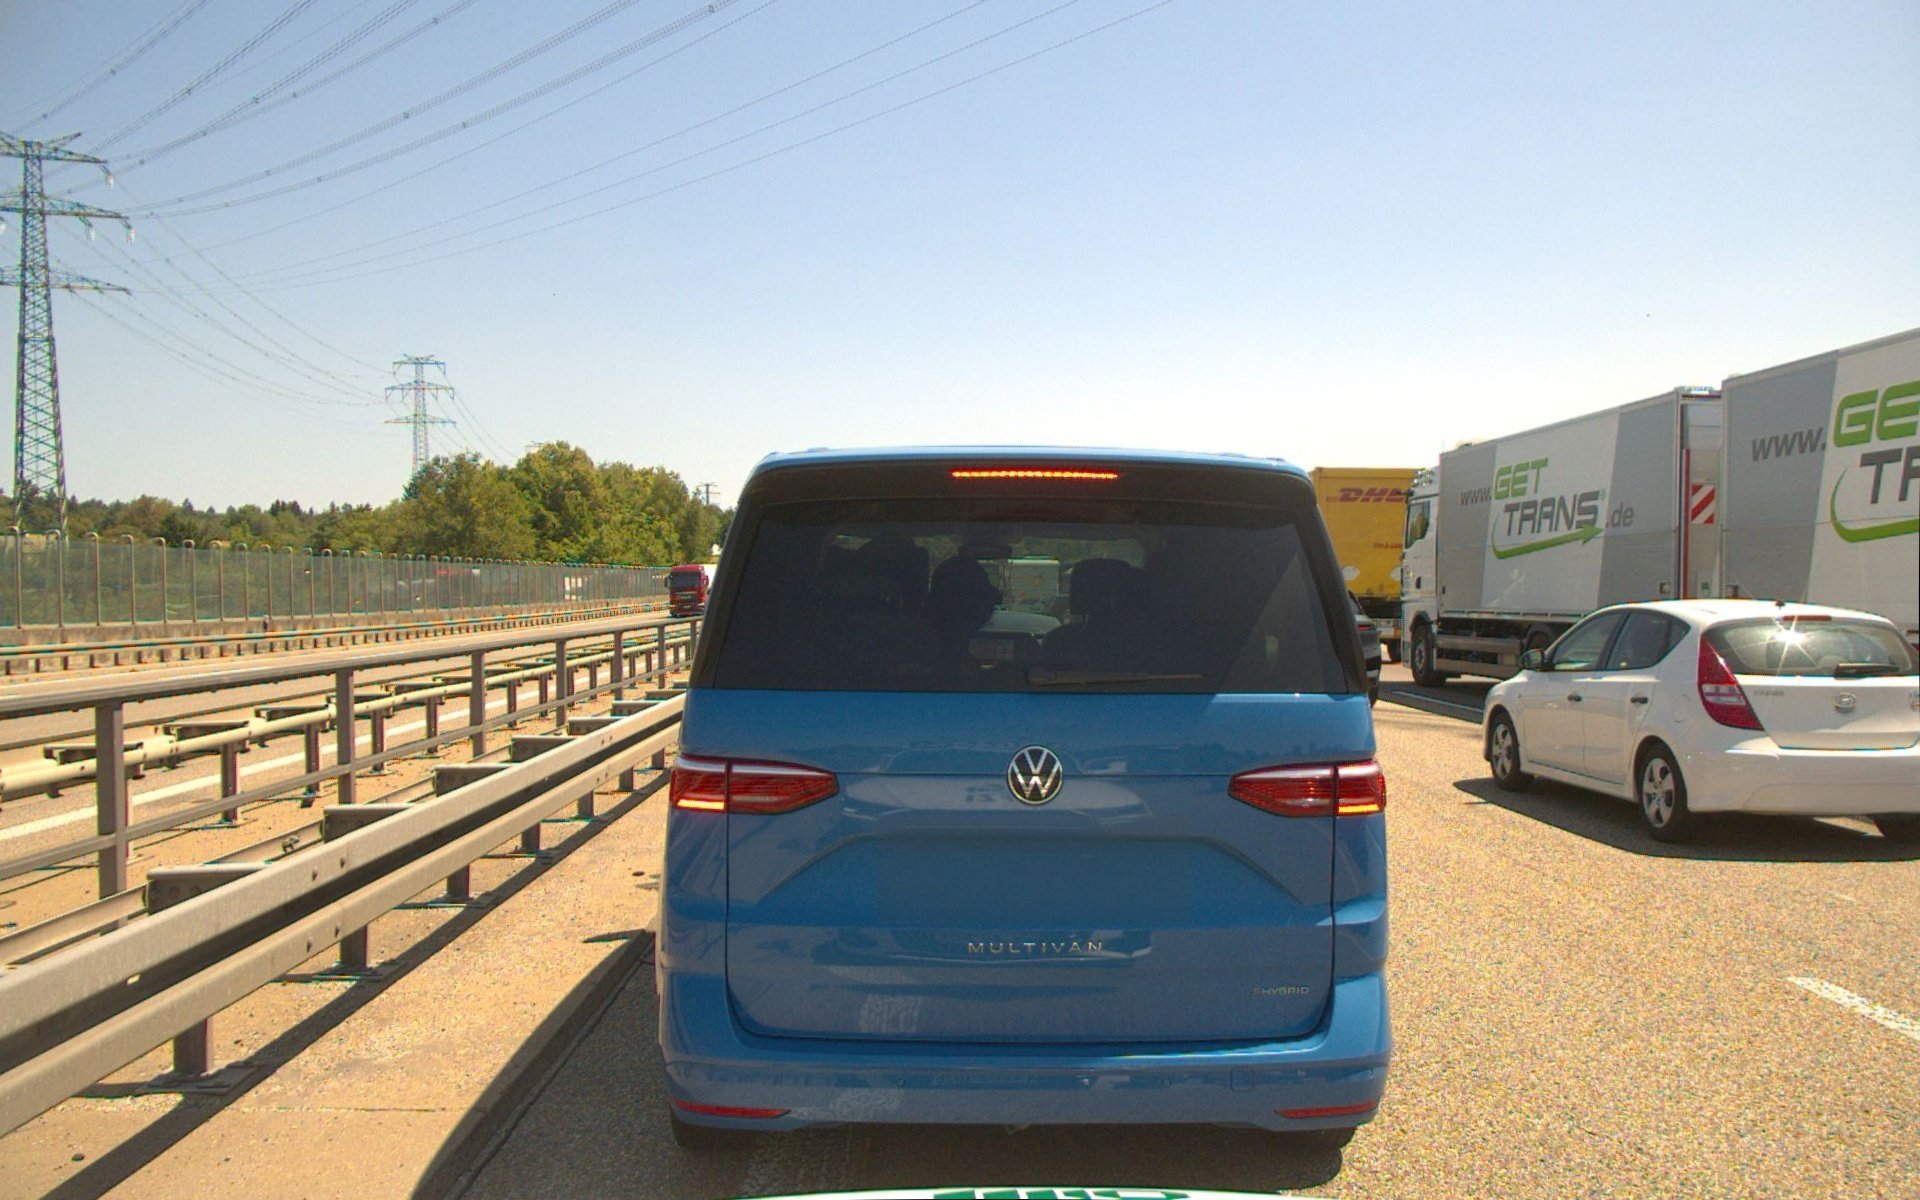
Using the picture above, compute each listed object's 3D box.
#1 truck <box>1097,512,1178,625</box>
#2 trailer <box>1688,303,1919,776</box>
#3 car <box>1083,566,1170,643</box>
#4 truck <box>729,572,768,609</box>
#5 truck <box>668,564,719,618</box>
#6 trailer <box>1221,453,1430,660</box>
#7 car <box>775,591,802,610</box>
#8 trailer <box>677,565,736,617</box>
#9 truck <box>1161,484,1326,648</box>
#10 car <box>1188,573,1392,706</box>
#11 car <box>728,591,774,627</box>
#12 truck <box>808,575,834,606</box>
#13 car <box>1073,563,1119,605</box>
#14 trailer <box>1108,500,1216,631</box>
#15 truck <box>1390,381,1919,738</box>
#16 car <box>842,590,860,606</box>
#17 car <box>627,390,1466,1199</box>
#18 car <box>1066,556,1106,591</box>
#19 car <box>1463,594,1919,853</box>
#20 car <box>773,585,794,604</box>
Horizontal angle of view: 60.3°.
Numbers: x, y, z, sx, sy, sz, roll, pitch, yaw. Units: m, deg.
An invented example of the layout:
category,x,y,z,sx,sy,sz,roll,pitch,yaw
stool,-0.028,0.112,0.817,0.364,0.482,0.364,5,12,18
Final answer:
category,x,y,z,sx,sy,sz,roll,pitch,yaw
truck,7.522,-1.284,70.991,2.613,4.562,6.848,1,0,-1
trailer,8.968,-0.484,13.220,2.643,3.765,8.013,0,0,-1
car,4.550,0.110,45.737,1.922,2.028,4.292,0,0,-1
truck,-19.100,-0.851,150.053,2.468,3.164,8.720,-3,0,-2
truck,-17.695,-0.593,110.212,2.447,3.424,5.833,-2,0,-1
trailer,8.414,-0.904,39.356,2.806,4.313,9.009,1,0,-1
car,-14.425,0.057,139.311,1.826,1.469,4.130,-3,0,-1
trailer,-17.812,-0.633,116.940,2.430,3.402,12.070,-2,0,-1
truck,8.194,-0.916,49.368,2.778,4.317,11.008,1,0,-1
car,4.445,0.483,22.947,1.922,1.673,4.292,0,0,-1
car,-9.242,0.374,73.307,1.586,1.489,3.701,-2,0,-1
truck,-16.037,-1.082,190.760,2.510,3.418,8.860,-2,0,-2
car,6.921,-0.795,84.419,1.953,2.049,3.999,1,0,-1
trailer,7.631,-1.256,63.939,2.583,4.595,11.299,1,0,-1
truck,8.758,-0.461,22.749,2.603,3.711,11.008,0,0,-1
car,-13.767,-0.230,208.986,1.953,2.049,4.311,1,0,-1
car,0.167,0.504,5.594,1.783,1.890,4.074,1,0,-1
car,7.466,-1.549,98.546,1.953,2.049,4.460,-1,0,-1
car,5.099,0.701,11.660,1.752,1.481,4.292,0,0,-1
car,-21.168,-0.668,198.201,2.040,2.187,4.311,-2,1,-1
